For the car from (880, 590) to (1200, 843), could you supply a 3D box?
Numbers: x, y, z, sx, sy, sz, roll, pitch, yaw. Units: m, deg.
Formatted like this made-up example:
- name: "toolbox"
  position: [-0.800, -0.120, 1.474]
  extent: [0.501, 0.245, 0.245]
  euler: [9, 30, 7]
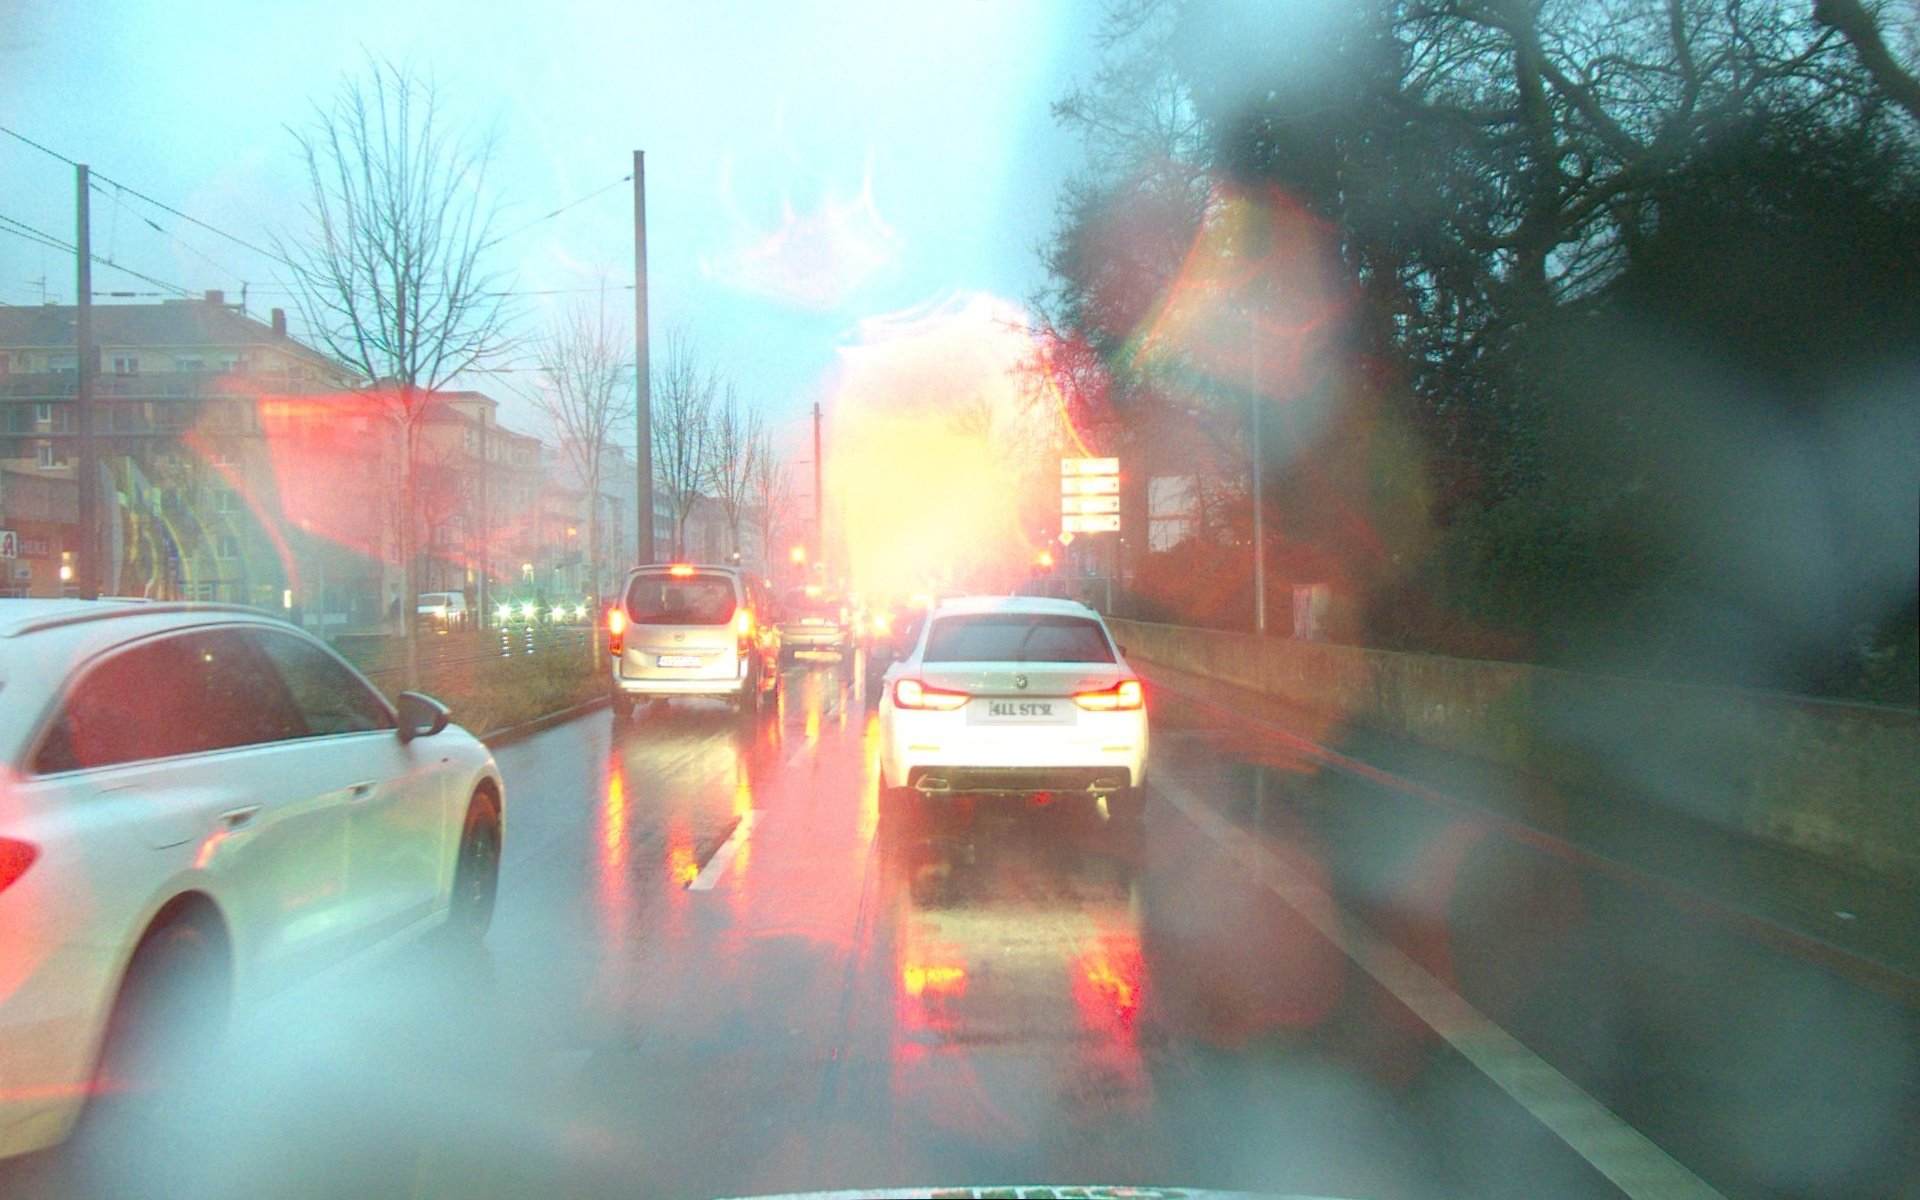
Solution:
- name: "car"
  position: [0.457, 0.697, 12.184]
  extent: [1.959, 1.534, 4.162]
  euler: [0, 0, -1]

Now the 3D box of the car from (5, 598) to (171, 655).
- name: "car"
  position: [-32.648, 0.949, 62.031]
  extent: [1.966, 1.945, 5.129]
  euler: [-1, 0, 43]

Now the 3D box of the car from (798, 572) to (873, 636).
- name: "car"
  position: [-3.582, 0.111, 48.213]
  extent: [1.953, 1.785, 3.999]
  euler: [0, 0, -2]

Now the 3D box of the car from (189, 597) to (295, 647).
- name: "car"
  position: [-26.738, 0.780, 61.800]
  extent: [1.857, 1.749, 4.915]
  euler: [-1, 0, -1]

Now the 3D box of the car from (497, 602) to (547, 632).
- name: "car"
  position: [-25.229, 0.952, 95.379]
  extent: [1.858, 1.662, 4.577]
  euler: [-1, 0, -3]

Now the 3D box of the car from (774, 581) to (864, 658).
- name: "car"
  position: [-3.183, 0.414, 38.022]
  extent: [1.770, 1.674, 3.999]
  euler: [0, 0, -1]

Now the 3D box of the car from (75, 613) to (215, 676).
- name: "car"
  position: [-24.779, 1.315, 50.501]
  extent: [1.857, 1.749, 4.916]
  euler: [-1, 0, 0]

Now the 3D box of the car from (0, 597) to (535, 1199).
- name: "car"
  position: [-2.839, 0.708, 5.316]
  extent: [1.809, 1.430, 4.613]
  euler: [0, 0, -1]

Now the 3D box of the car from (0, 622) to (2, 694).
- name: "car"
  position: [-25.526, 1.528, 40.215]
  extent: [1.857, 1.844, 4.529]
  euler: [-1, 0, -1]

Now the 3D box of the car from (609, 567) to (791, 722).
- name: "car"
  position: [-3.209, 0.515, 21.244]
  extent: [1.757, 1.766, 4.535]
  euler: [0, 0, -2]

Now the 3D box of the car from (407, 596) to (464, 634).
- name: "car"
  position: [-27.940, 0.773, 88.244]
  extent: [1.956, 1.945, 5.154]
  euler: [-1, 0, -8]

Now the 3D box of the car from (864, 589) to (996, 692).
- name: "car"
  position: [-0.468, 0.577, 26.012]
  extent: [1.896, 1.483, 4.162]
  euler: [0, 0, -1]
